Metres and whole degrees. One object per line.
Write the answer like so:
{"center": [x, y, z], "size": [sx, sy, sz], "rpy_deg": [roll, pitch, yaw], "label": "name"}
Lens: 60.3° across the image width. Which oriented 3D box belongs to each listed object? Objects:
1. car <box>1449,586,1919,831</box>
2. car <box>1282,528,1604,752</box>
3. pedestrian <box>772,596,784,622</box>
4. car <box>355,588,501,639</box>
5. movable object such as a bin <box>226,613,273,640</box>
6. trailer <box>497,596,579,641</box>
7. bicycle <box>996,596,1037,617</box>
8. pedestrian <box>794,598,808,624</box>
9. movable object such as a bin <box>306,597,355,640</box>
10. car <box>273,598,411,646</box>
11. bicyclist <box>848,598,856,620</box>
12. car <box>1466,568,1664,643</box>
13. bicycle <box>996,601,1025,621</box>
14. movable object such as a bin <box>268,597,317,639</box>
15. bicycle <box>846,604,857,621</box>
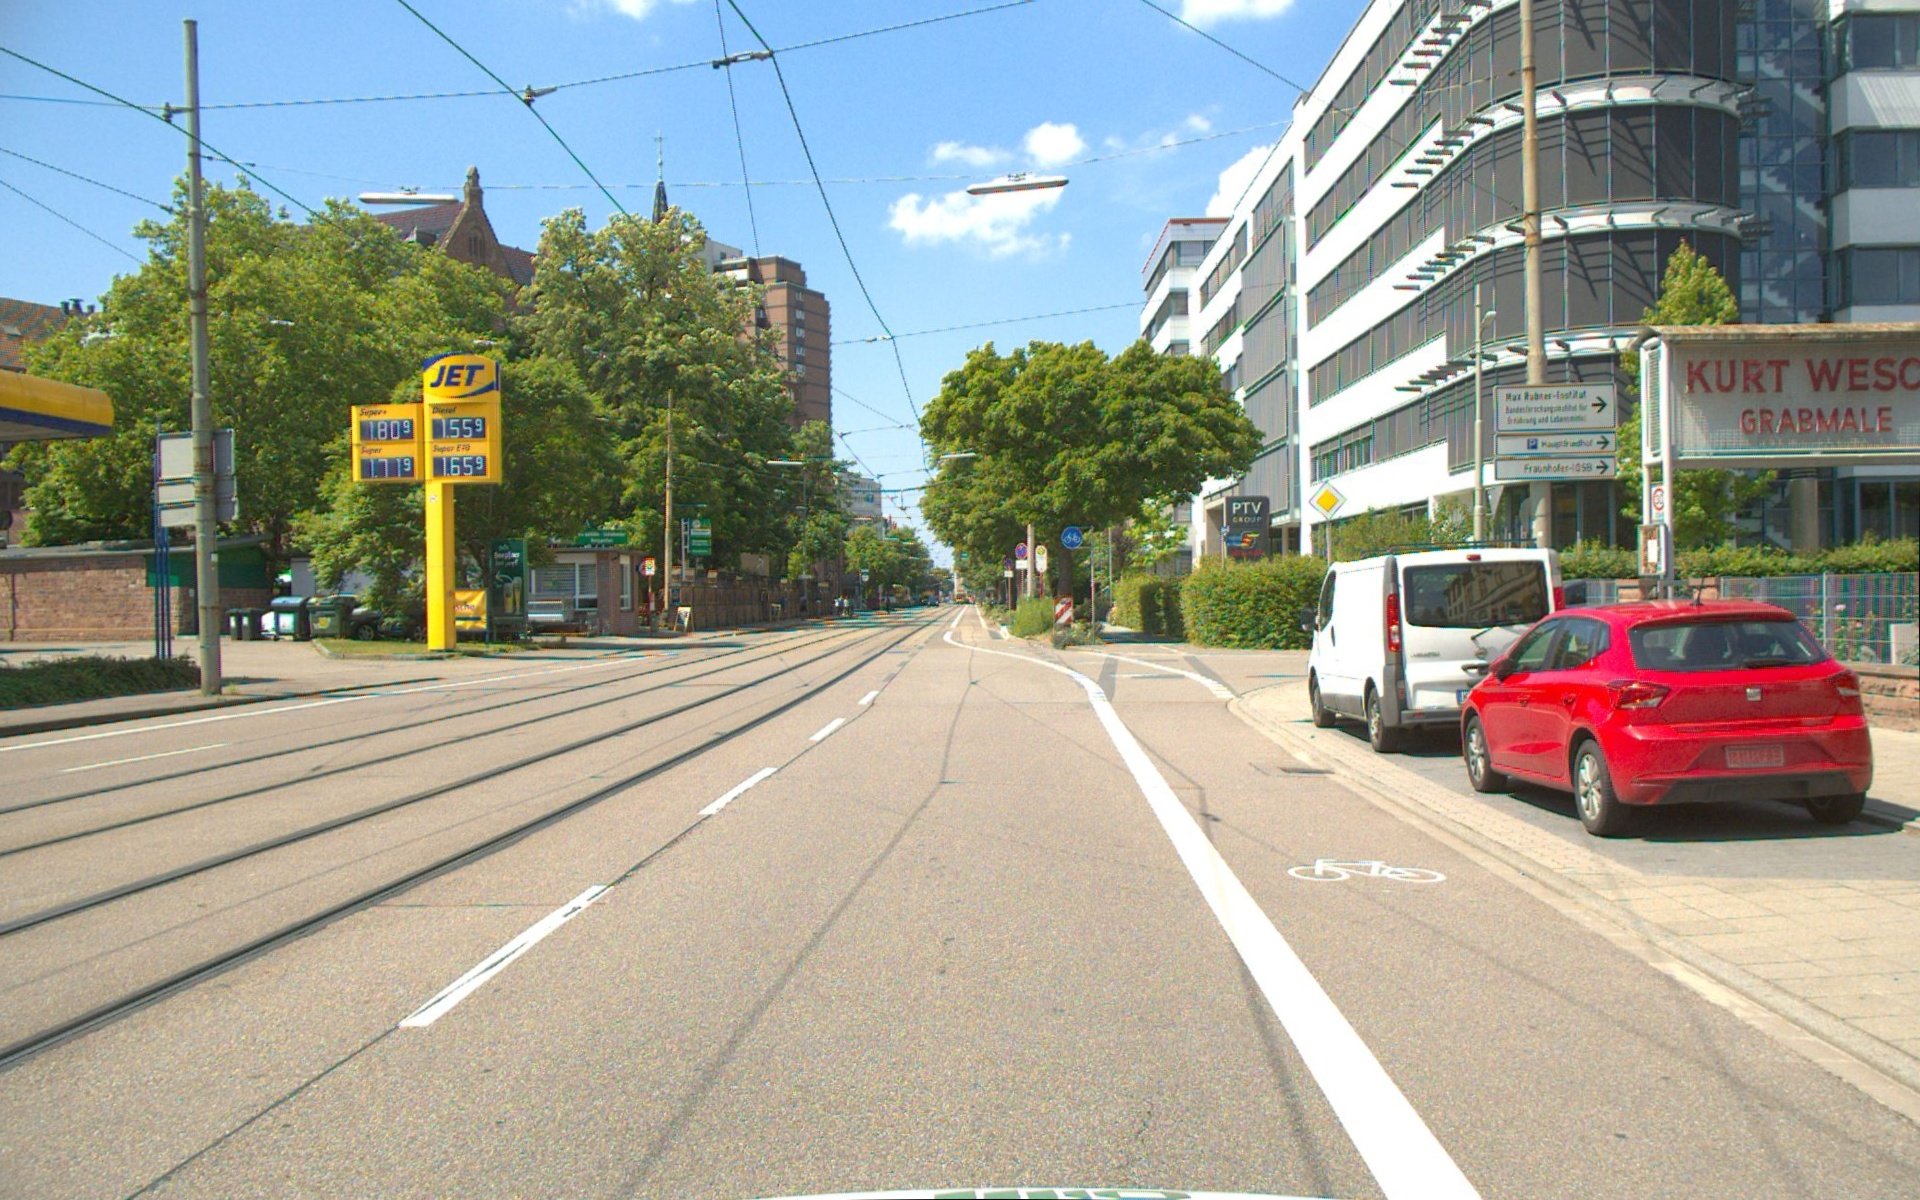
{"center": [5.021, 0.641, 11.927], "size": [1.952, 1.467, 4.018], "rpy_deg": [0, 0, 2], "label": "car"}
{"center": [5.123, 0.367, 18.471], "size": [1.953, 2.026, 5.515], "rpy_deg": [-3, 0, 1], "label": "car"}
{"center": [-12.450, 0.621, 113.257], "size": [0.728, 1.758, 0.867], "rpy_deg": [-1, 0, 0], "label": "pedestrian"}
{"center": [-18.021, 0.431, 56.107], "size": [1.966, 1.618, 4.303], "rpy_deg": [-1, 0, 44], "label": "car"}
{"center": [-24.035, 0.888, 55.951], "size": [1.316, 0.888, 0.758], "rpy_deg": [-1, 0, 21], "label": "movable object such as a bin"}
{"center": [-16.521, 0.710, 64.866], "size": [2.771, 1.733, 1.621], "rpy_deg": [-1, 0, 1], "label": "trailer"}
{"center": [3.508, 0.399, 102.671], "size": [2.458, 1.231, 0.648], "rpy_deg": [-1, 0, 5], "label": "bicycle"}
{"center": [-10.842, 0.757, 112.776], "size": [0.798, 1.801, 0.924], "rpy_deg": [-1, 0, 0], "label": "pedestrian"}
{"center": [-20.715, 0.605, 54.417], "size": [1.317, 1.378, 0.758], "rpy_deg": [-1, 0, -2], "label": "movable object such as a bin"}
{"center": [-22.216, 0.769, 59.566], "size": [4.298, 1.620, 1.880], "rpy_deg": [-1, 0, -43], "label": "car"}
{"center": [-8.497, 0.671, 130.080], "size": [0.629, 1.709, 0.814], "rpy_deg": [-1, 0, -3], "label": "bicyclist"}
{"center": [12.731, 0.116, 34.929], "size": [3.526, 1.476, 1.758], "rpy_deg": [-1, 0, 0], "label": "car"}
{"center": [3.099, 0.659, 101.571], "size": [1.717, 1.186, 0.530], "rpy_deg": [-1, 0, -3], "label": "bicycle"}
{"center": [-22.302, 0.602, 55.257], "size": [1.315, 1.378, 0.759], "rpy_deg": [-1, 0, 12], "label": "movable object such as a bin"}
{"center": [-8.495, 0.968, 129.880], "size": [0.686, 1.225, 2.240], "rpy_deg": [-3, 0, 0], "label": "bicycle"}
